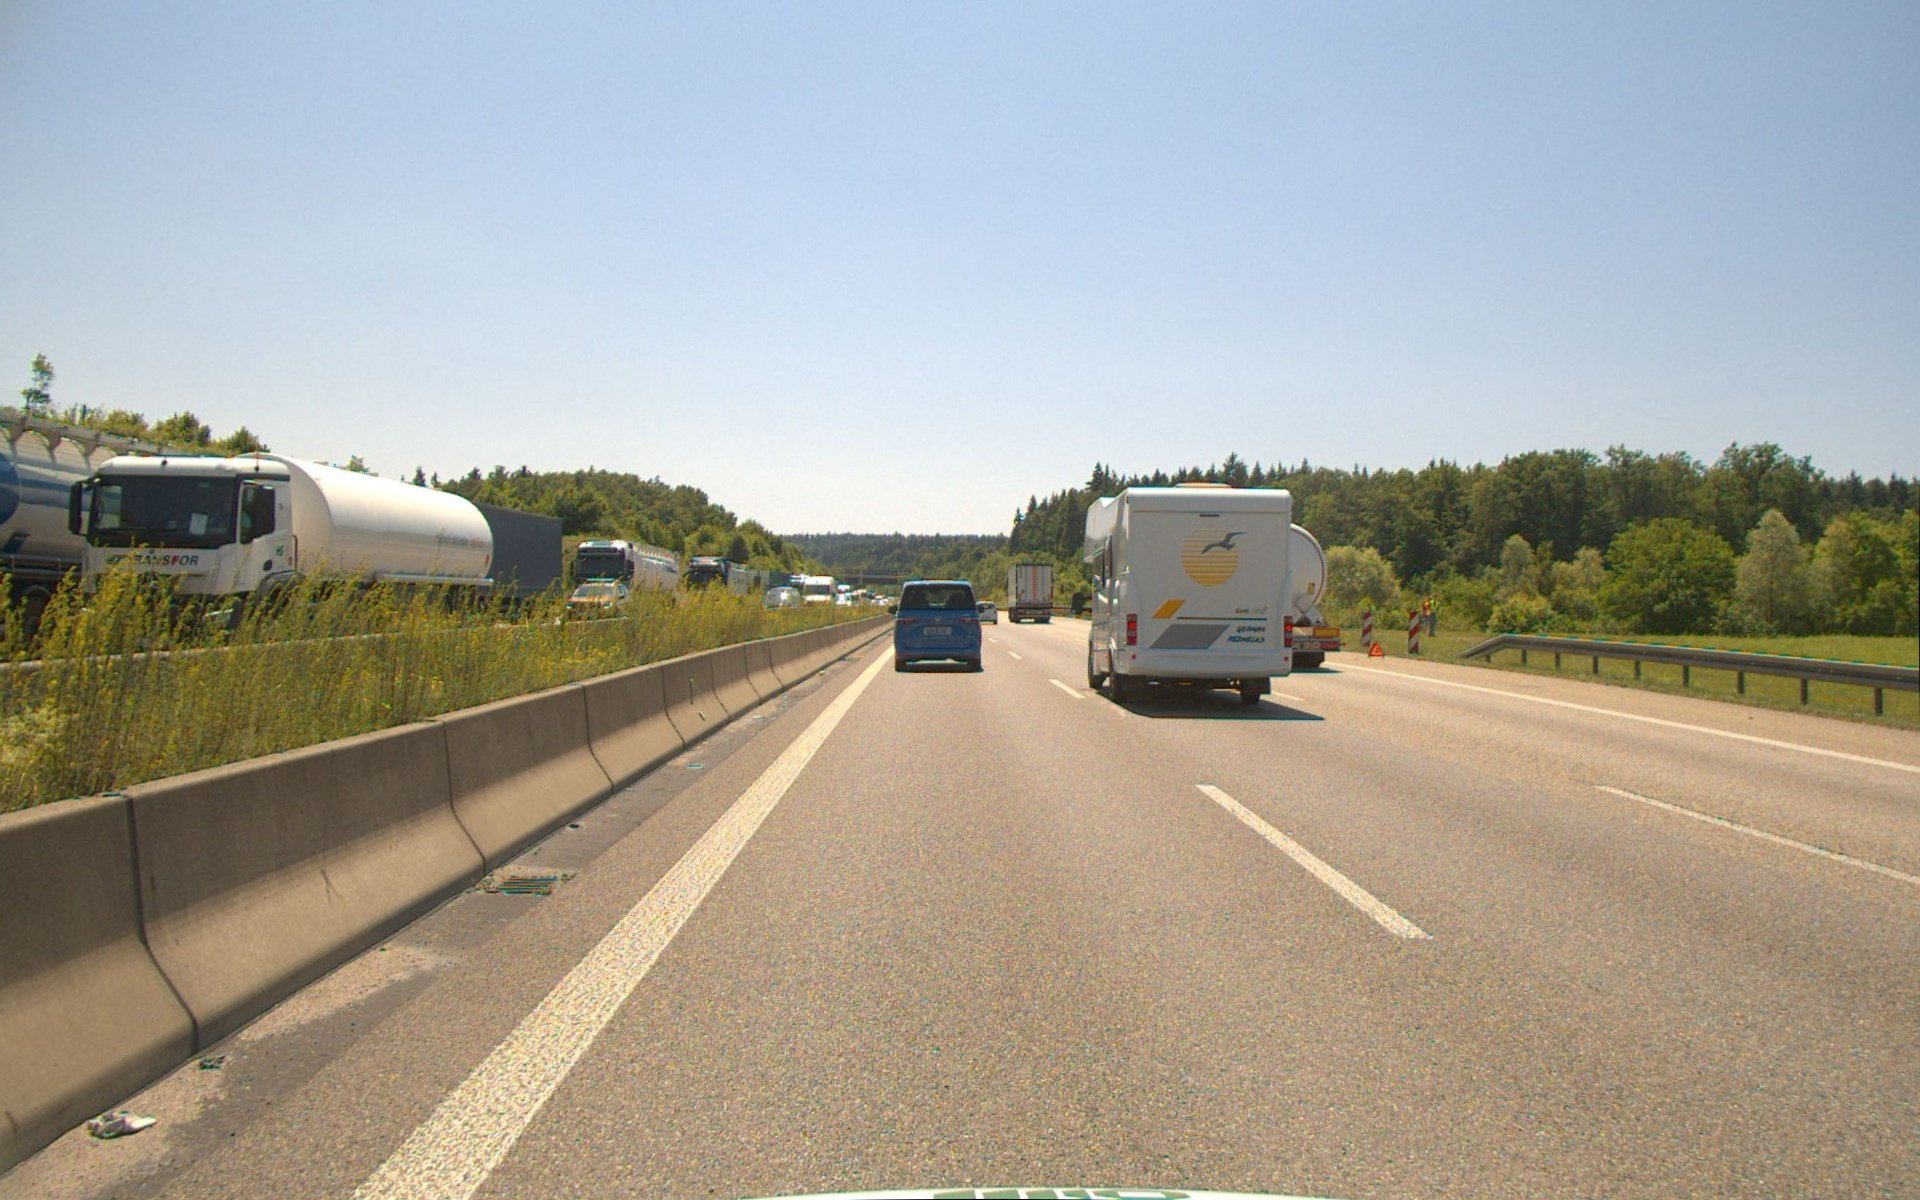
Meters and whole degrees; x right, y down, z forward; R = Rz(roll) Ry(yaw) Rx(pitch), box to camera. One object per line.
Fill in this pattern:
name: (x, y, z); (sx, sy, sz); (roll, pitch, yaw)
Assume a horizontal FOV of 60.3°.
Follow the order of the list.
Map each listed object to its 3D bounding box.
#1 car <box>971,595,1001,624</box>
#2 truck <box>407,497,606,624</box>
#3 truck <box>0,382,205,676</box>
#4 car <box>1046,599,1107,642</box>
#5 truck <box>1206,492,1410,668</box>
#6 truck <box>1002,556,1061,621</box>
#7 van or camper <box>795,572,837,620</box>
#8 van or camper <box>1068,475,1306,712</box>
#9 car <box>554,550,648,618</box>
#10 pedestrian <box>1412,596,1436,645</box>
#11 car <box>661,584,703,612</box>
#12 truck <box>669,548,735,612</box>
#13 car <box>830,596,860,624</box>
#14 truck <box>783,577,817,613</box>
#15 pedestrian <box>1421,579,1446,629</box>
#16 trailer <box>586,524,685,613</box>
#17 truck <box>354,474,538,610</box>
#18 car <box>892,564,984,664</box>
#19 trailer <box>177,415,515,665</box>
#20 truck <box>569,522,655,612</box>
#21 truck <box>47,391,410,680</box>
car: (1.746, 0.644, 111.070); (1.781, 1.825, 3.893); (3, -1, -1)
truck: (-16.632, -1.313, 62.322); (3.505, 4.165, 15.003); (1, 0, -1)
truck: (-15.372, -1.020, 23.676); (3.505, 4.165, 12.576); (0, 0, -1)
car: (4.234, 0.750, 60.517); (1.870, 1.501, 3.999); (1, -1, -1)
truck: (7.978, -0.472, 39.150); (2.868, 3.637, 8.525); (1, 1, -1)
truck: (4.995, -0.755, 117.366); (3.417, 4.243, 8.639); (3, -1, -1)
van or camper: (-9.410, -0.218, 108.540); (1.953, 2.927, 7.640); (3, -1, 0)
van or camper: (3.246, -0.123, 25.504); (2.550, 3.132, 7.180); (0, 0, -1)
car: (-12.027, -0.489, 55.725); (2.043, 2.099, 5.057); (2, -1, -1)
pedestrian: (20.539, 0.891, 73.212); (0.674, 2.116, 0.928); (3, -1, -1)
car: (-16.540, -0.084, 98.453); (1.760, 1.565, 4.583); (-1, -1, -1)
truck: (-16.924, -1.256, 108.830); (3.385, 3.944, 5.443); (3, -1, -1)
car: (-9.211, 0.804, 133.020); (1.953, 2.049, 5.162); (3, -1, 0)
truck: (-18.557, -0.465, 192.426); (2.932, 3.869, 12.158); (3, -1, -2)
pedestrian: (20.160, 0.172, 70.446); (0.674, 2.116, 0.928); (3, -1, -1)
trailer: (-16.371, -1.422, 84.420); (2.626, 4.019, 13.239); (3, -1, -2)
truck: (-16.489, -1.712, 53.800); (3.438, 3.978, 8.143); (2, -1, -1)
car: (-0.490, 0.306, 36.252); (1.870, 2.049, 3.999); (1, -1, -1)
trailer: (-11.488, -0.915, 32.544); (2.625, 4.019, 11.641); (-1, -1, -2)
truck: (-16.193, -1.452, 77.349); (2.638, 3.946, 6.315); (2, -1, -1)
truck: (-11.381, -0.866, 26.655); (2.565, 3.958, 7.400); (1, -1, -1)
